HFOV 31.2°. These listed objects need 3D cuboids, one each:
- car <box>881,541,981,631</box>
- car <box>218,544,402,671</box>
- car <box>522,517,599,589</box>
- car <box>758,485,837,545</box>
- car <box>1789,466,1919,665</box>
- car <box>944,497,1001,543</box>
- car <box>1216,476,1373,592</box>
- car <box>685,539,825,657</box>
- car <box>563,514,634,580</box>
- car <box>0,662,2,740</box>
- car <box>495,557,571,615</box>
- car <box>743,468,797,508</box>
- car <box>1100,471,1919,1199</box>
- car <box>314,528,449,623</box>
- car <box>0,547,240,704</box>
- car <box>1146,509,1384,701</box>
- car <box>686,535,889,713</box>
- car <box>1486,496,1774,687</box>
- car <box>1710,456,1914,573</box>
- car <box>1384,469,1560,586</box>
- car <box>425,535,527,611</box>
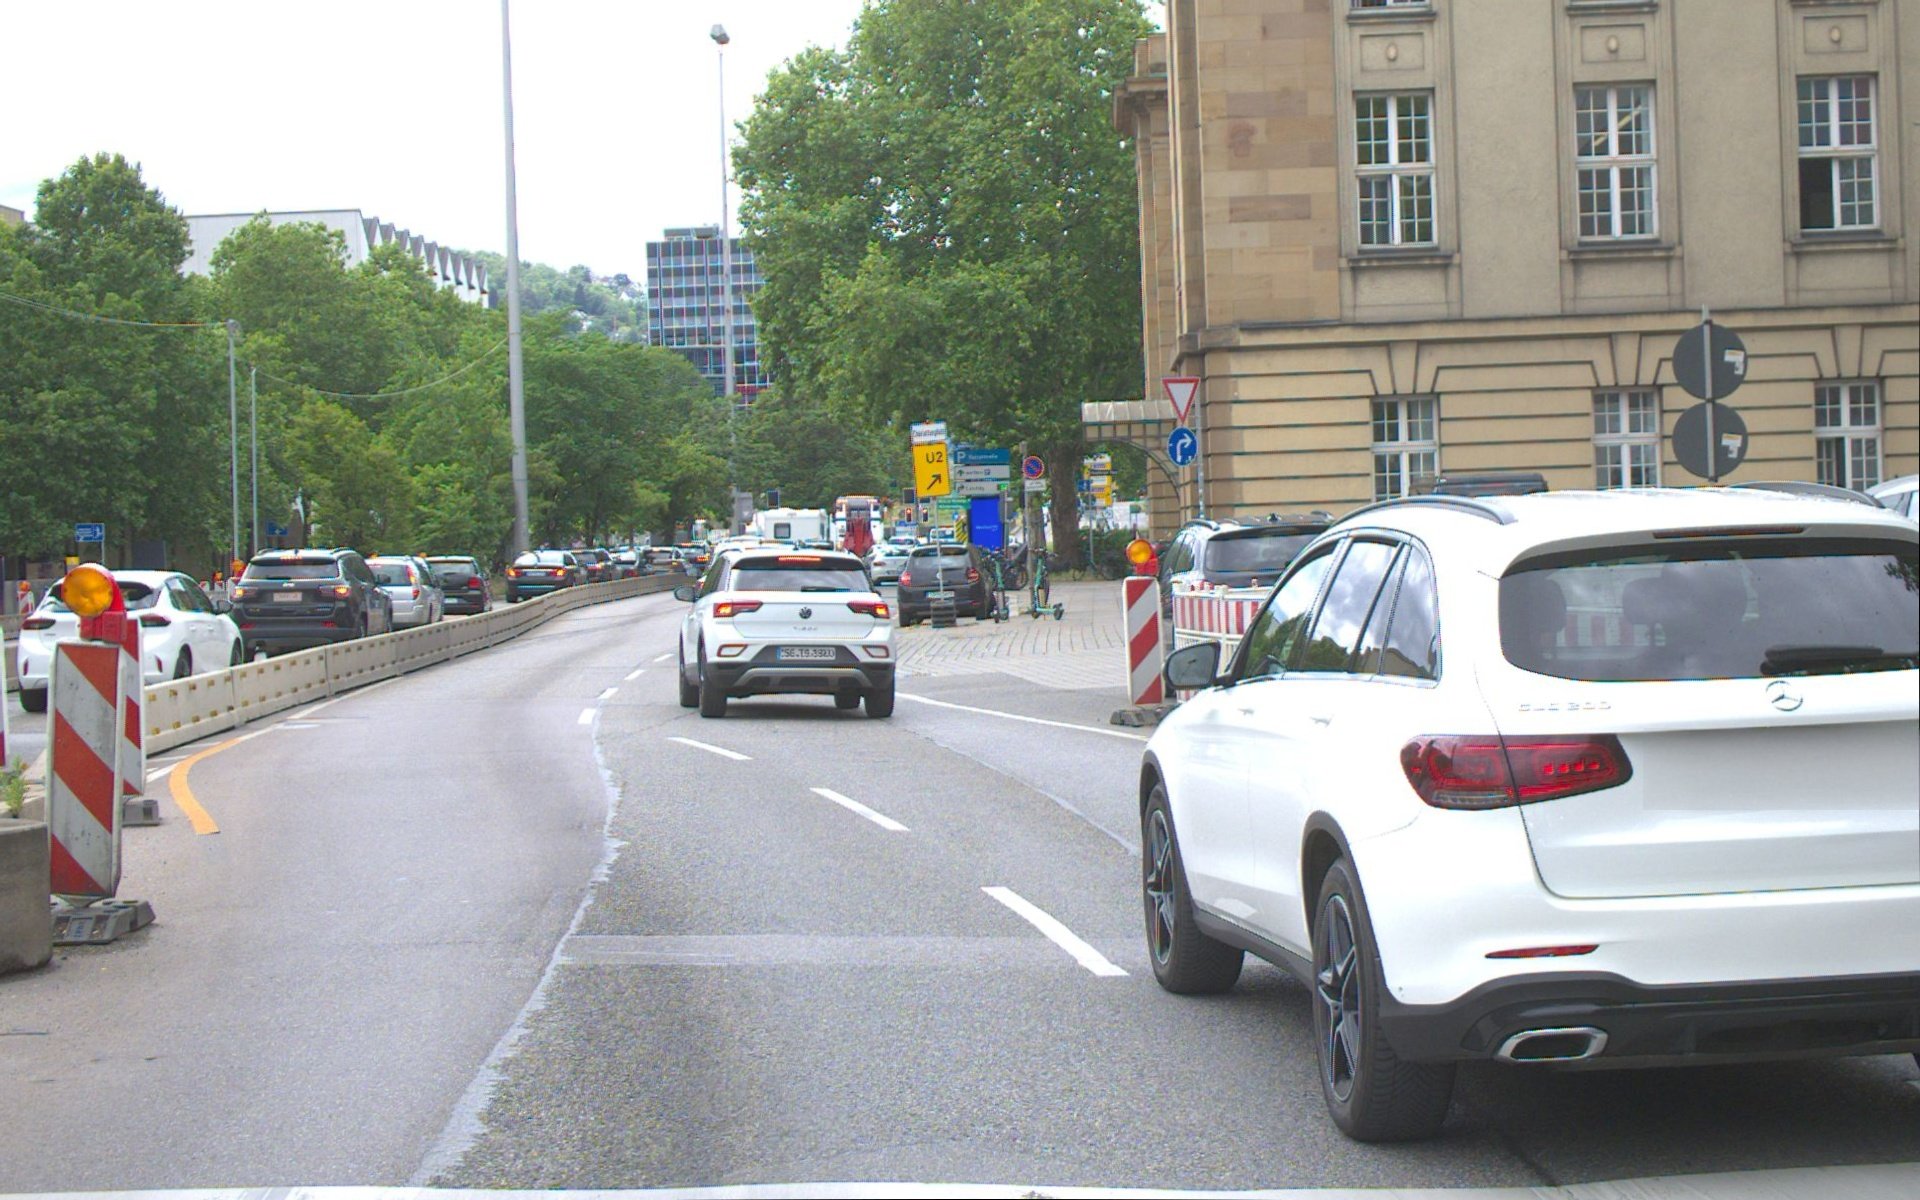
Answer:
[{"bbox_3d":[-0.528,-0.294,65.545,1.823,1.562,4.480,1,2,0],"label":"car"},{"bbox_3d":[-9.006,0.079,47.843,1.751,1.562,3.377,-4,1,1],"label":"car"},{"bbox_3d":[-12.279,-1.461,105.860,1.993,2.006,4.001,-2,3,-3],"label":"car"},{"bbox_3d":[-6.809,-3.578,144.756,2.582,2.366,5.526,-2,1,4],"label":"car"},{"bbox_3d":[8.432,-0.308,29.142,1.750,1.562,4.331,-1,0,0],"label":"car"},{"bbox_3d":[0.686,-4.362,186.824,2.582,2.366,5.526,-2,1,4],"label":"car"},{"bbox_3d":[4.817,-0.934,49.989,1.856,1.562,4.331,-1,0,0],"label":"car"},{"bbox_3d":[-3.075,-0.069,50.825,1.823,1.562,4.481,2,1,-6],"label":"car"},{"bbox_3d":[-12.214,-1.815,116.360,1.993,2.006,4.001,-2,3,-1],"label":"car"},{"bbox_3d":[-9.211,0.486,27.673,1.750,1.562,4.331,-2,1,0],"label":"car"},{"bbox_3d":[-12.028,-0.407,97.152,1.750,1.562,4.332,-2,1,-3],"label":"car"},{"bbox_3d":[-11.908,-7.041,215.746,2.582,2.366,5.526,-2,1,4],"label":"car"},{"bbox_3d":[1.655,0.509,10.104,1.811,1.637,4.553,-4,1,-5],"label":"car"},{"bbox_3d":[-10.093,-0.441,60.249,1.750,1.562,4.332,-2,1,-2],"label":"car"},{"bbox_3d":[-8.987,0.235,36.833,1.750,1.562,3.377,-1,1,1],"label":"car"},{"bbox_3d":[2.674,0.024,30.969,1.750,1.562,4.331,-1,0,0],"label":"car"},{"bbox_3d":[-1.712,0.184,32.827,1.750,1.562,4.332,-1,1,-5],"label":"car"},{"bbox_3d":[5.972,-0.083,31.109,1.750,1.562,4.331,-1,0,0],"label":"car"},{"bbox_3d":[12.181,-1.189,49.425,1.856,1.562,4.331,-1,0,0],"label":"car"},{"bbox_3d":[7.276,-1.008,49.205,1.856,1.562,4.331,-1,0,0],"label":"car"},{"bbox_3d":[-10.516,-0.603,74.905,1.750,1.562,4.332,-2,1,-3],"label":"car"}]
